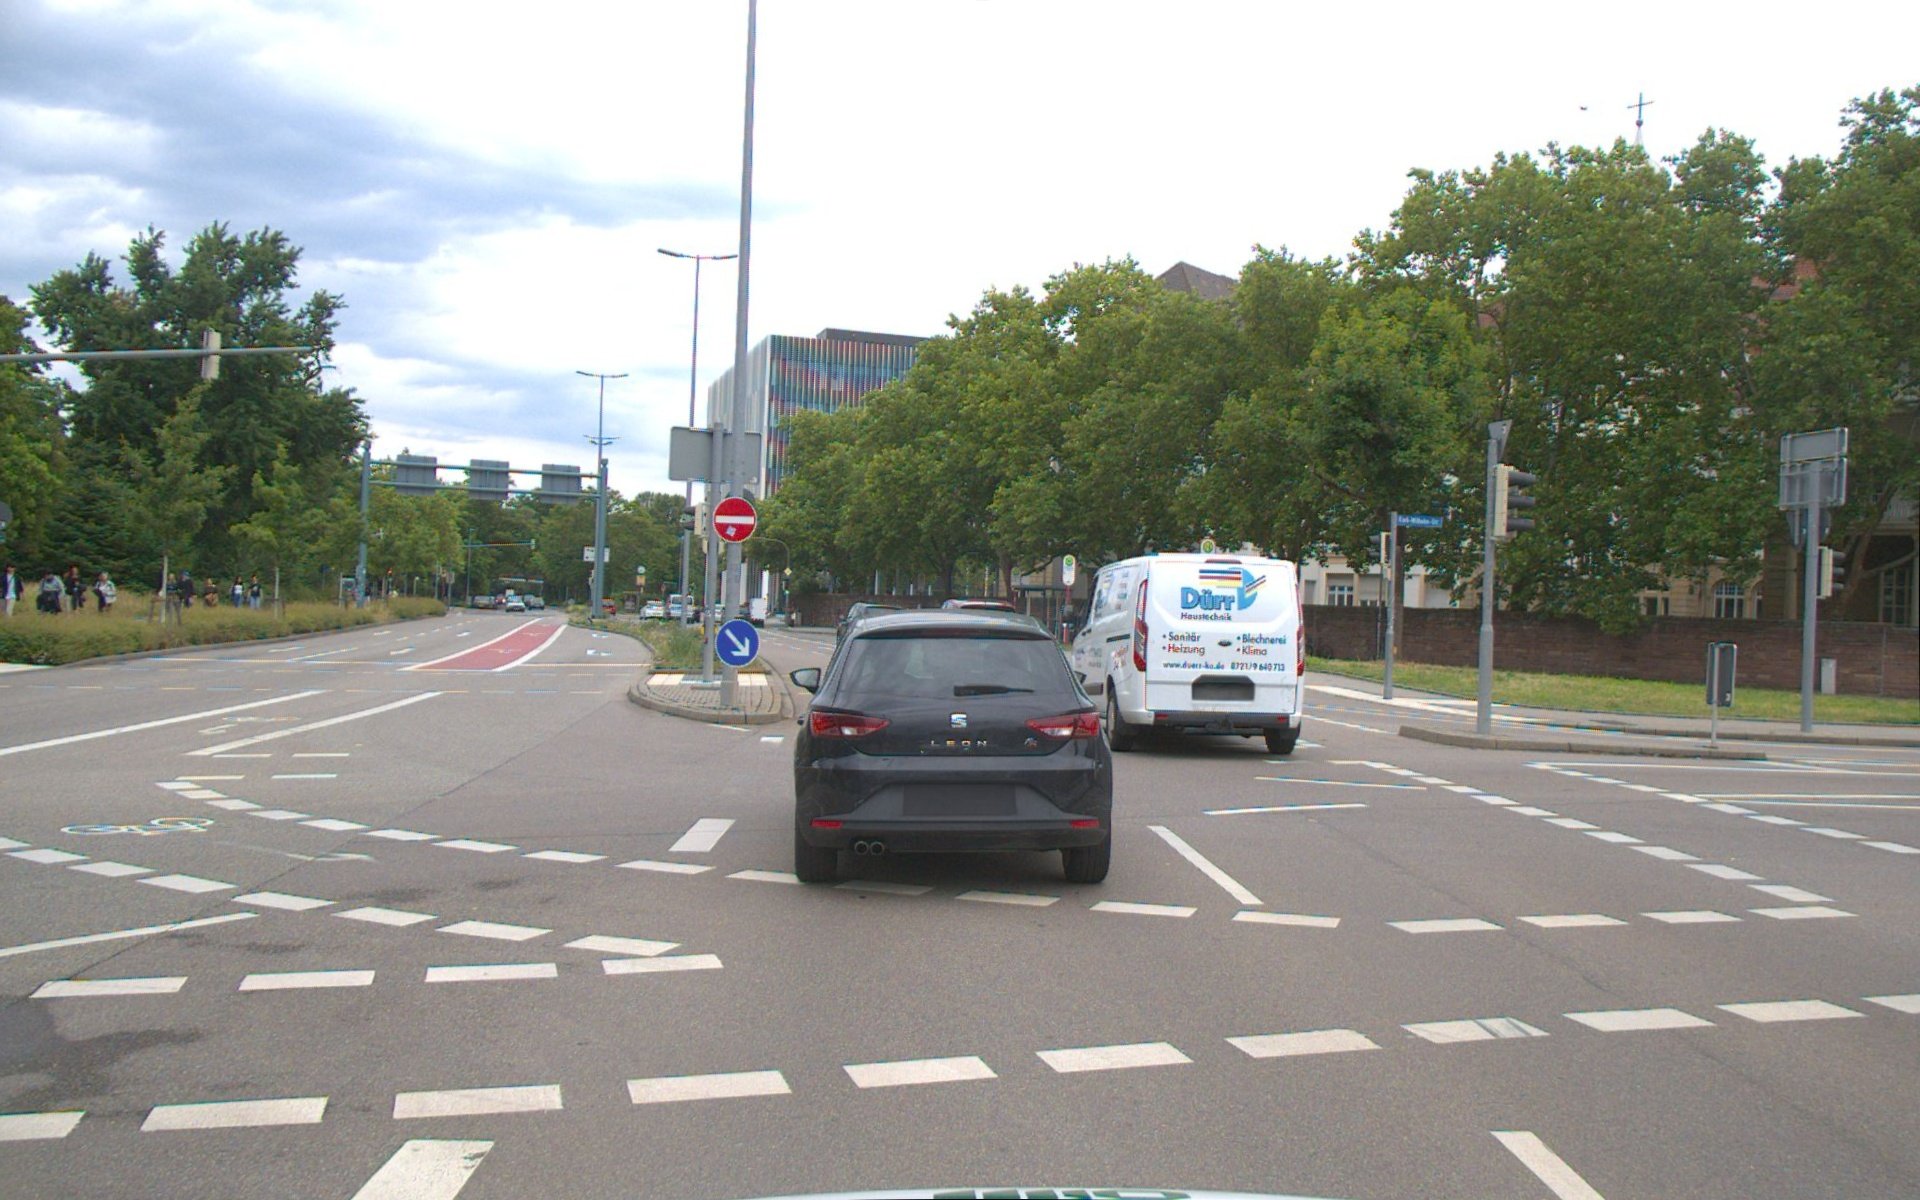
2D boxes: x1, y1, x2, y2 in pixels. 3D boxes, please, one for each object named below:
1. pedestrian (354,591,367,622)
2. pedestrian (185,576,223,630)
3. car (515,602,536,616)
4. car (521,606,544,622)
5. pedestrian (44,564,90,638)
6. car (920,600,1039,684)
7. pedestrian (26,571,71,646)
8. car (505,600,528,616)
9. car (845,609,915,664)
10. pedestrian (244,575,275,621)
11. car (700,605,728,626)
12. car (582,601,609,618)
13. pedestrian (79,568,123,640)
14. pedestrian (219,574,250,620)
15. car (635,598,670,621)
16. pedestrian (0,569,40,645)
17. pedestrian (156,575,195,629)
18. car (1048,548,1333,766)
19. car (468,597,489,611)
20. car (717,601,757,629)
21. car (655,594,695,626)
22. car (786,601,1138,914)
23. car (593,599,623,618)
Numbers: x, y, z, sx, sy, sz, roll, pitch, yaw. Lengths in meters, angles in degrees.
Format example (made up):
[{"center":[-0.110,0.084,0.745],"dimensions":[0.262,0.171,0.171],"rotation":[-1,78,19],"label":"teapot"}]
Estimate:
[{"center":[-40.176,0.439,110.870],"dimensions":[0.654,2.049,0.595],"rotation":[2,-1,-7],"label":"pedestrian"},{"center":[-26.032,0.107,56.976],"dimensions":[0.902,1.810,1.061],"rotation":[2,0,-12],"label":"pedestrian"},{"center":[-56.504,1.161,214.945],"dimensions":[1.967,1.811,3.970],"rotation":[2,0,-24],"label":"car"},{"center":[-49.017,1.601,189.803],"dimensions":[1.966,1.811,3.972],"rotation":[2,0,-23],"label":"car"},{"center":[-25.507,0.031,47.252],"dimensions":[0.740,2.049,1.045],"rotation":[2,-1,-7],"label":"pedestrian"},{"center":[0.354,0.857,35.413],"dimensions":[1.823,1.628,4.196],"rotation":[2,0,-9],"label":"car"},{"center":[-23.463,0.224,42.597],"dimensions":[0.700,1.903,0.757],"rotation":[2,-1,-6],"label":"pedestrian"},{"center":[-42.143,0.750,157.235],"dimensions":[1.663,1.441,3.619],"rotation":[2,0,-22],"label":"car"},{"center":[-2.586,1.112,52.523],"dimensions":[1.955,1.593,4.199],"rotation":[2,0,-6],"label":"car"},{"center":[-28.520,-0.089,67.312],"dimensions":[0.902,1.810,1.061],"rotation":[2,0,-12],"label":"pedestrian"},{"center":[-17.243,1.063,115.903],"dimensions":[1.501,1.389,2.955],"rotation":[2,0,-17],"label":"car"},{"center":[-31.008,0.797,140.536],"dimensions":[1.688,1.287,3.317],"rotation":[2,0,-22],"label":"car"},{"center":[-24.734,0.118,47.632],"dimensions":[0.740,2.049,1.045],"rotation":[2,-1,-7],"label":"pedestrian"},{"center":[-29.419,-0.129,67.101],"dimensions":[0.902,1.810,1.061],"rotation":[2,-1,-12],"label":"pedestrian"},{"center":[-23.954,0.730,128.813],"dimensions":[1.964,1.668,3.976],"rotation":[2,0,-20],"label":"car"},{"center":[-24.247,0.176,42.563],"dimensions":[0.700,1.903,0.756],"rotation":[2,-1,-7],"label":"pedestrian"},{"center":[-26.925,0.063,56.778],"dimensions":[0.902,1.810,1.061],"rotation":[2,0,-12],"label":"pedestrian"},{"center":[2.378,0.557,18.514],"dimensions":[1.955,2.054,5.025],"rotation":[2,0,-6],"label":"car"},{"center":[-52.395,0.456,179.951],"dimensions":[1.851,1.441,3.833],"rotation":[2,0,-20],"label":"car"},{"center":[-14.194,0.931,105.026],"dimensions":[1.887,1.713,3.981],"rotation":[2,0,-17],"label":"car"},{"center":[-19.164,0.645,111.048],"dimensions":[1.964,2.049,3.978],"rotation":[2,0,-19],"label":"car"},{"center":[-0.162,0.830,10.150],"dimensions":[1.712,1.490,3.995],"rotation":[-1,-2,-5],"label":"car"},{"center":[-33.191,0.818,155.806],"dimensions":[1.968,1.711,3.979],"rotation":[2,0,-25],"label":"car"}]
